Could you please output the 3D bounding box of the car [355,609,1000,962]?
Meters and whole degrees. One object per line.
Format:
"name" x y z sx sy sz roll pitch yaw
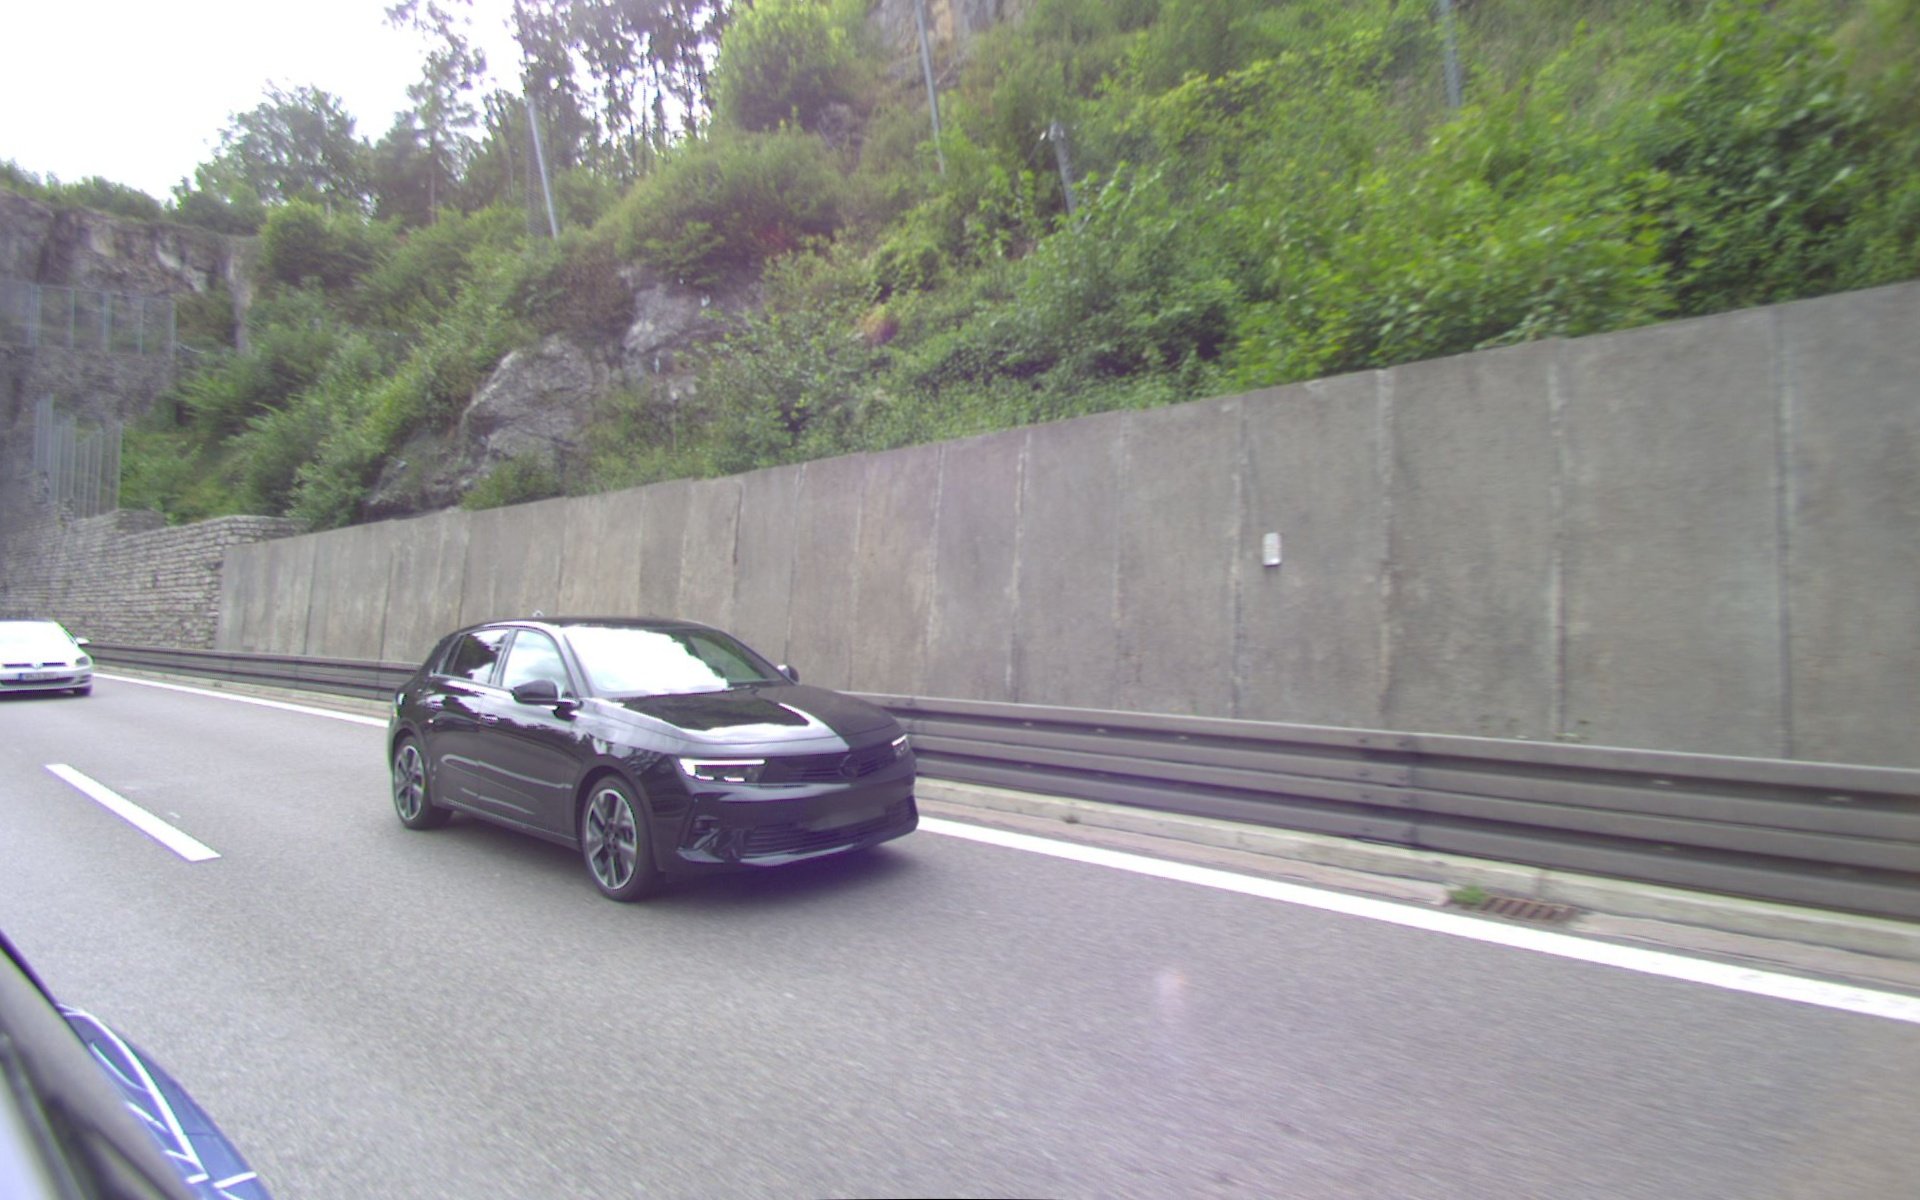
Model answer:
"car" -2.078 0.830 6.472 4.579 1.472 1.755 -1 -1 41

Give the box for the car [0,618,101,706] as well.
"car" -18.039 1.106 19.211 4.622 1.493 1.827 -1 -1 39
